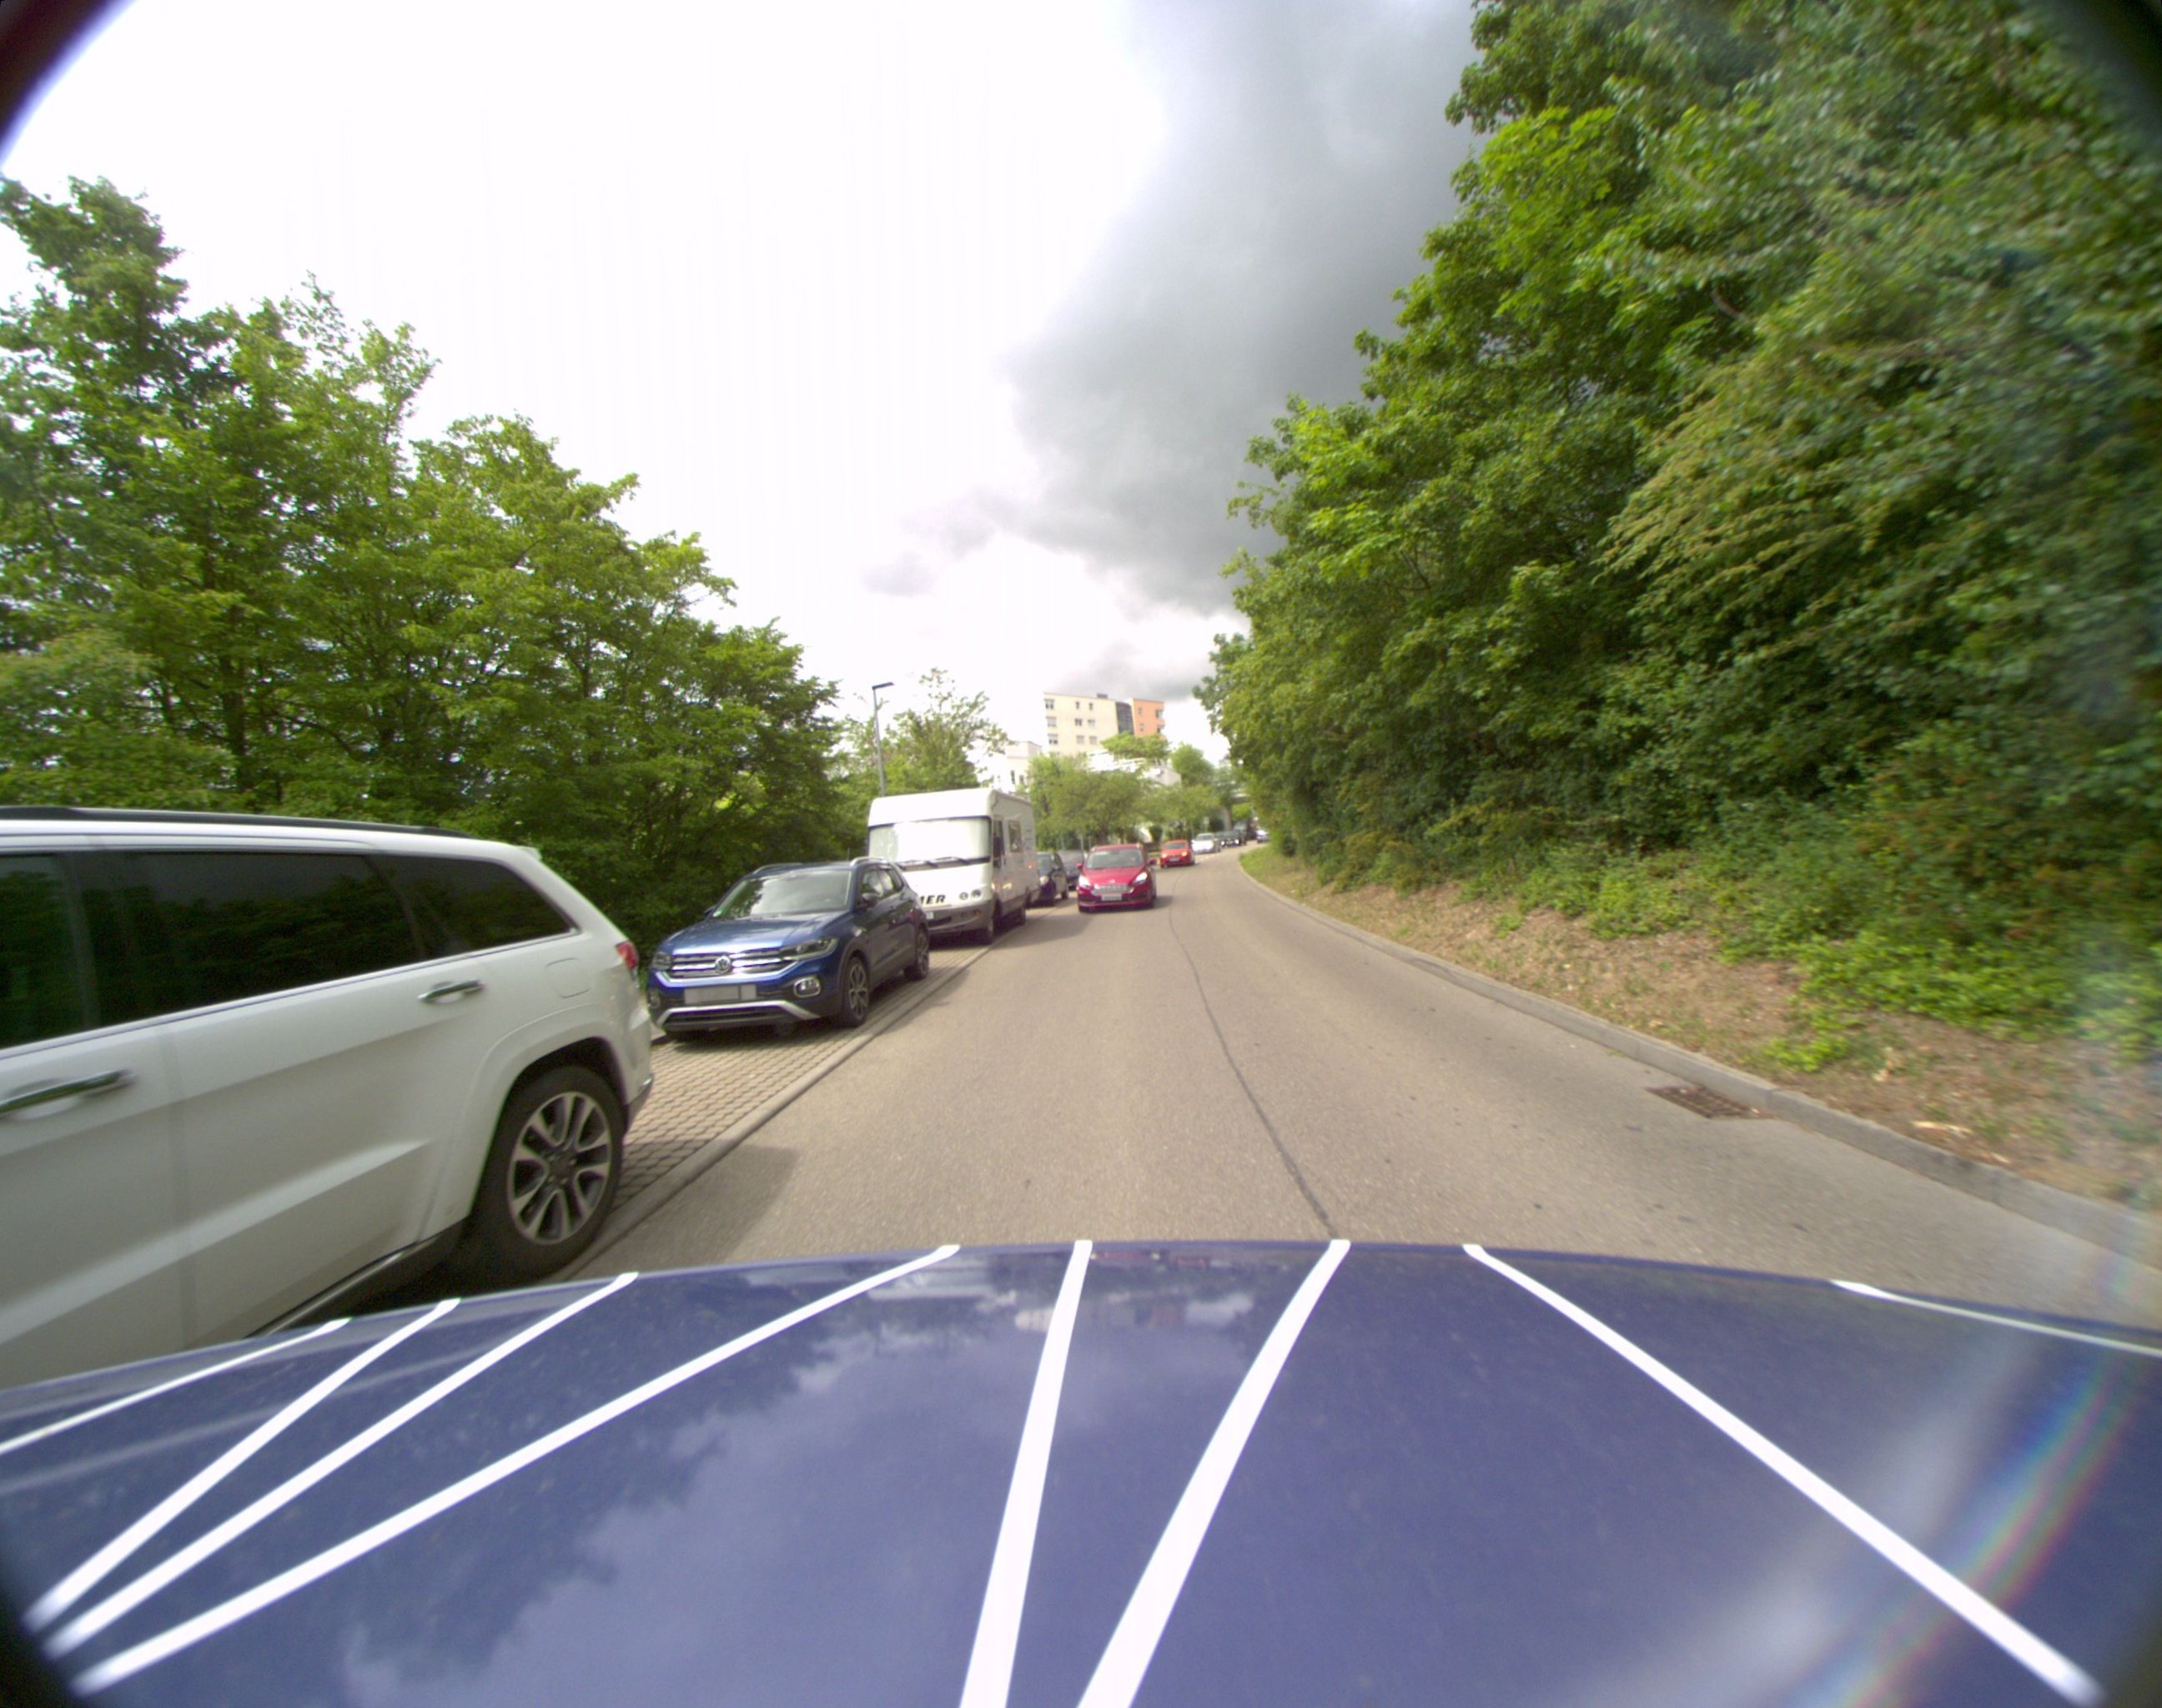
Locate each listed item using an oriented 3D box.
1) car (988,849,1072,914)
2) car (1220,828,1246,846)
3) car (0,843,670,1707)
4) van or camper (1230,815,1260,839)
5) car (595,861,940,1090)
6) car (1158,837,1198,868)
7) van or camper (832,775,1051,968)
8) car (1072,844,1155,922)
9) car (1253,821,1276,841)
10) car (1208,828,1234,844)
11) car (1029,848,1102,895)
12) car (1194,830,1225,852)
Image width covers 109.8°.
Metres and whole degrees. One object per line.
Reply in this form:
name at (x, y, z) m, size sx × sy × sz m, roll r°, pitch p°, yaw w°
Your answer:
car at (-1.401, 0.734, 22.422) m, size 1.732 × 1.510 × 3.889 m, roll -4°, pitch 2°, yaw 6°
car at (14.535, -1.643, 72.335) m, size 1.778 × 1.412 × 4.003 m, roll -5°, pitch 2°, yaw 19°
car at (-2.961, 0.908, 1.250) m, size 1.876 × 1.679 × 4.579 m, roll -6°, pitch 0°, yaw 1°
van or camper at (19.848, -3.260, 91.650) m, size 1.995 × 2.481 × 5.765 m, roll -5°, pitch 2°, yaw 26°
car at (-2.879, 0.991, 8.071) m, size 1.715 × 1.582 × 4.000 m, roll -8°, pitch 0°, yaw 2°
car at (5.420, -0.146, 43.024) m, size 1.861 × 1.434 × 3.999 m, roll -6°, pitch 2°, yaw 4°
van or camper at (-2.349, 0.232, 15.099) m, size 2.337 × 2.852 × 6.152 m, roll -6°, pitch 1°, yaw 6°
car at (0.879, 0.639, 19.057) m, size 1.812 × 1.600 × 3.722 m, roll -2°, pitch 2°, yaw 5°
car at (18.226, -2.285, 75.205) m, size 1.755 × 1.652 × 4.124 m, roll -7°, pitch 0°, yaw 17°
car at (14.733, -1.923, 79.718) m, size 1.693 × 1.412 × 4.004 m, roll -4°, pitch 2°, yaw 24°
car at (-0.480, 0.587, 28.438) m, size 1.779 × 1.426 × 4.336 m, roll -4°, pitch 1°, yaw 10°
car at (10.261, -1.038, 60.498) m, size 1.778 × 1.444 × 4.003 m, roll -5°, pitch 2°, yaw 18°
